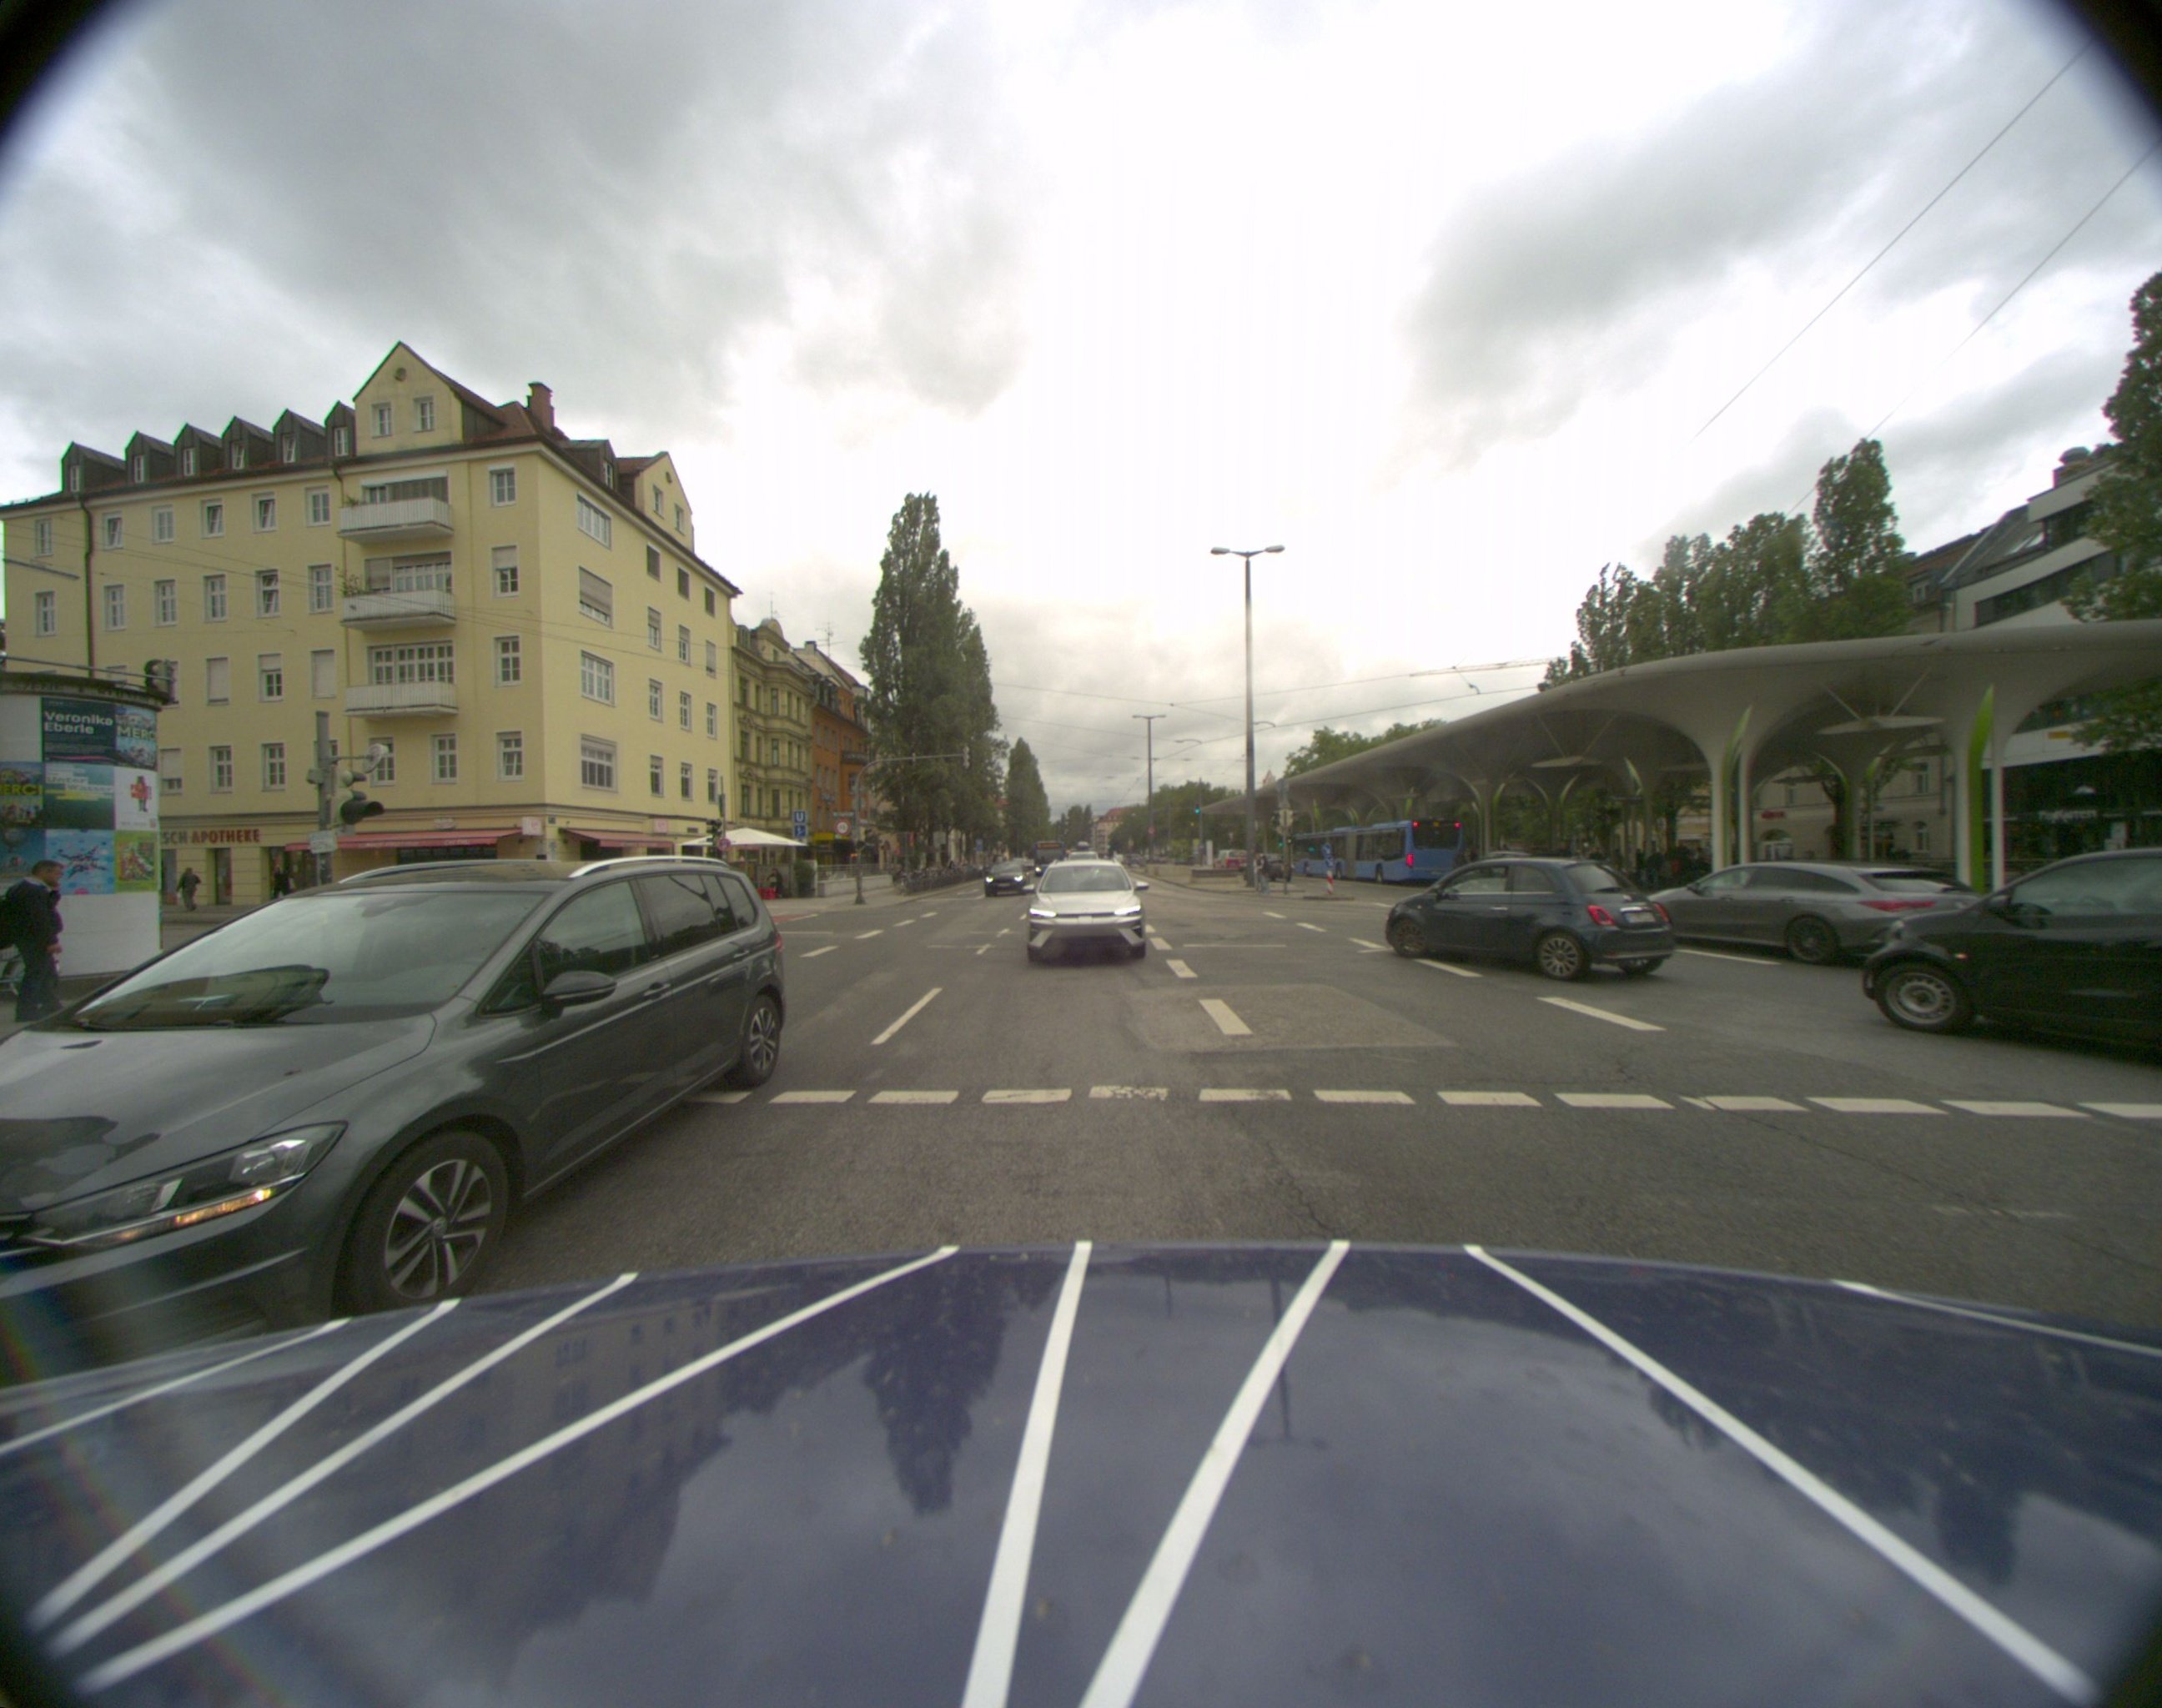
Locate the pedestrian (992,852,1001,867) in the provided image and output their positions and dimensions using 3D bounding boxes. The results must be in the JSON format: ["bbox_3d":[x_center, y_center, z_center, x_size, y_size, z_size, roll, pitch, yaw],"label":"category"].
[{"bbox_3d":[-9.591,0.620,86.338,0.699,1.770,0.652,-2,0,34],"label":"pedestrian"}]

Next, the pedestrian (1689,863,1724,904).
[{"bbox_3d":[24.191,1.132,29.396,0.734,1.521,0.798,-1,1,3],"label":"pedestrian"}]

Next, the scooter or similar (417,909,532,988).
[{"bbox_3d":[-9.434,1.445,11.877,0.777,1.069,1.256,-1,0,-1],"label":"scooter or similar"}]

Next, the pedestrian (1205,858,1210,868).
[{"bbox_3d":[18.867,1.320,113.252,0.632,1.549,0.589,0,0,-1],"label":"pedestrian"}]

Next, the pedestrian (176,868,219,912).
[{"bbox_3d":[-33.639,1.360,28.927,0.759,1.633,0.768,-1,0,11],"label":"pedestrian"}]

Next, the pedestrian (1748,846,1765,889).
[{"bbox_3d":[30.486,0.594,34.281,0.484,1.921,0.422,-1,1,-28],"label":"pedestrian"}]

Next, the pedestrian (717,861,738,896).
[{"bbox_3d":[-16.895,1.162,36.315,0.616,1.623,0.677,-1,1,0],"label":"pedestrian"}]

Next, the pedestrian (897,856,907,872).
[{"bbox_3d":[-18.393,1.029,78.121,0.748,1.704,1.017,-1,0,0],"label":"pedestrian"}]

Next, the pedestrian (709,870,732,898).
[{"bbox_3d":[-15.707,1.303,33.104,0.627,1.196,0.700,-1,1,1],"label":"pedestrian"}]

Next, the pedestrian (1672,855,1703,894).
[{"bbox_3d":[22.958,0.778,28.748,0.872,1.449,0.552,-1,0,42],"label":"pedestrian"}]

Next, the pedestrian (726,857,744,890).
[{"bbox_3d":[-18.246,1.011,40.043,0.602,1.729,0.666,-1,1,0],"label":"pedestrian"}]

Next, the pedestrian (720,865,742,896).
[{"bbox_3d":[-16.389,1.240,35.574,0.677,1.414,0.616,-1,1,0],"label":"pedestrian"}]

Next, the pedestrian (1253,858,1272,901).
[{"bbox_3d":[6.835,0.960,28.648,0.520,1.609,0.465,0,1,44],"label":"pedestrian"}]

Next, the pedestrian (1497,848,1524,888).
[{"bbox_3d":[18.342,0.586,32.460,0.632,1.665,0.746,-1,1,-31],"label":"pedestrian"}]

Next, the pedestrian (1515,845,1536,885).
[{"bbox_3d":[19.358,0.473,33.100,0.703,1.700,0.758,-1,0,25],"label":"pedestrian"}]

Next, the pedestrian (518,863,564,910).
[{"bbox_3d":[-19.948,1.197,28.082,1.039,1.673,0.838,-1,0,-2],"label":"pedestrian"}]

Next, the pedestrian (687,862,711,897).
[{"bbox_3d":[-18.282,1.223,36.401,0.712,1.623,0.786,-1,1,0],"label":"pedestrian"}]

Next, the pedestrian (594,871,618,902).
[{"bbox_3d":[-19.790,1.342,31.658,0.515,1.284,0.703,-1,0,-1],"label":"pedestrian"}]

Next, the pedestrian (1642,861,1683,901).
[{"bbox_3d":[21.856,1.007,28.561,1.023,1.444,0.855,-1,0,23],"label":"pedestrian"}]

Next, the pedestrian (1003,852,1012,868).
[{"bbox_3d":[-8.525,0.701,88.098,0.881,1.791,0.757,-2,0,11],"label":"pedestrian"}]

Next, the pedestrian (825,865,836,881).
[{"bbox_3d":[-19.876,1.500,60.233,0.624,1.211,0.583,-1,1,-1],"label":"pedestrian"}]

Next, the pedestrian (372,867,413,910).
[{"bbox_3d":[-25.540,1.274,28.190,0.760,1.576,0.768,-1,0,4],"label":"pedestrian"}]

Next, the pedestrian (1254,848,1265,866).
[{"bbox_3d":[18.144,0.339,77.242,0.667,1.828,0.808,-1,1,-30],"label":"pedestrian"}]

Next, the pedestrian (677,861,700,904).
[{"bbox_3d":[-15.687,1.128,30.410,0.761,1.685,0.766,-1,1,-25],"label":"pedestrian"}]

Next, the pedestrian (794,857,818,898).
[{"bbox_3d":[-11.978,1.023,33.148,0.884,1.733,0.857,-1,0,-16],"label":"pedestrian"}]

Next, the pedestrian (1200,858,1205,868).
[{"bbox_3d":[18.072,1.363,113.014,0.632,1.549,0.589,0,0,-1],"label":"pedestrian"}]

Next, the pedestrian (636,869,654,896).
[{"bbox_3d":[-19.320,1.274,33.676,0.479,1.159,0.527,-1,0,-1],"label":"pedestrian"}]

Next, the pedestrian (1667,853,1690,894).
[{"bbox_3d":[23.242,0.764,29.565,0.664,1.574,0.500,-1,0,42],"label":"pedestrian"}]

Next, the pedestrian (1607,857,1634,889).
[{"bbox_3d":[27.266,0.963,38.414,0.813,1.601,0.791,-1,0,7],"label":"pedestrian"}]

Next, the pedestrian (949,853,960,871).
[{"bbox_3d":[-11.007,0.678,66.086,0.761,1.553,0.763,-1,0,2],"label":"pedestrian"}]

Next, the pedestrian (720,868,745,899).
[{"bbox_3d":[-14.782,1.239,32.228,0.679,1.304,0.796,-1,1,1],"label":"pedestrian"}]

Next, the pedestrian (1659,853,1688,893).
[{"bbox_3d":[23.629,0.744,30.296,0.872,1.574,0.552,-1,0,42],"label":"pedestrian"}]

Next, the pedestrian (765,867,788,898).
[{"bbox_3d":[-13.203,1.228,32.964,0.679,1.303,0.796,-1,1,1],"label":"pedestrian"}]

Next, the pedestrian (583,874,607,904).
[{"bbox_3d":[-19.693,1.409,30.805,0.515,1.175,0.703,-1,0,-1],"label":"pedestrian"}]

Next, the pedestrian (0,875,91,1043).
[{"bbox_3d":[-11.191,1.072,8.051,0.834,1.681,0.821,0,0,38],"label":"pedestrian"}]

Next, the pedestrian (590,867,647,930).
[{"bbox_3d":[-13.220,1.262,21.746,0.935,1.745,1.065,-1,0,4],"label":"pedestrian"}]

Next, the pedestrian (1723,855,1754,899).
[{"bbox_3d":[24.278,0.829,28.053,0.597,1.601,0.624,-1,0,4],"label":"pedestrian"}]

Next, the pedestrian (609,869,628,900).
[{"bbox_3d":[-19.818,1.306,32.546,0.479,1.291,0.527,-1,0,-1],"label":"pedestrian"}]

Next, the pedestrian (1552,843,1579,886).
[{"bbox_3d":[20.416,0.444,32.029,0.805,1.806,0.706,-1,1,15],"label":"pedestrian"}]

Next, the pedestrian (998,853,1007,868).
[{"bbox_3d":[-8.964,0.719,87.020,0.758,1.628,0.699,-1,-1,-43],"label":"pedestrian"}]

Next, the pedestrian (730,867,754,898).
[{"bbox_3d":[-14.771,1.239,33.117,0.679,1.304,0.796,-1,1,1],"label":"pedestrian"}]

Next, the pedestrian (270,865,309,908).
[{"bbox_3d":[-31.481,1.268,30.227,0.852,1.673,0.705,-1,1,11],"label":"pedestrian"}]

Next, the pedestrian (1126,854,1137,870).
[{"bbox_3d":[5.998,0.966,89.884,0.862,1.801,0.895,-3,1,-27],"label":"pedestrian"}]
